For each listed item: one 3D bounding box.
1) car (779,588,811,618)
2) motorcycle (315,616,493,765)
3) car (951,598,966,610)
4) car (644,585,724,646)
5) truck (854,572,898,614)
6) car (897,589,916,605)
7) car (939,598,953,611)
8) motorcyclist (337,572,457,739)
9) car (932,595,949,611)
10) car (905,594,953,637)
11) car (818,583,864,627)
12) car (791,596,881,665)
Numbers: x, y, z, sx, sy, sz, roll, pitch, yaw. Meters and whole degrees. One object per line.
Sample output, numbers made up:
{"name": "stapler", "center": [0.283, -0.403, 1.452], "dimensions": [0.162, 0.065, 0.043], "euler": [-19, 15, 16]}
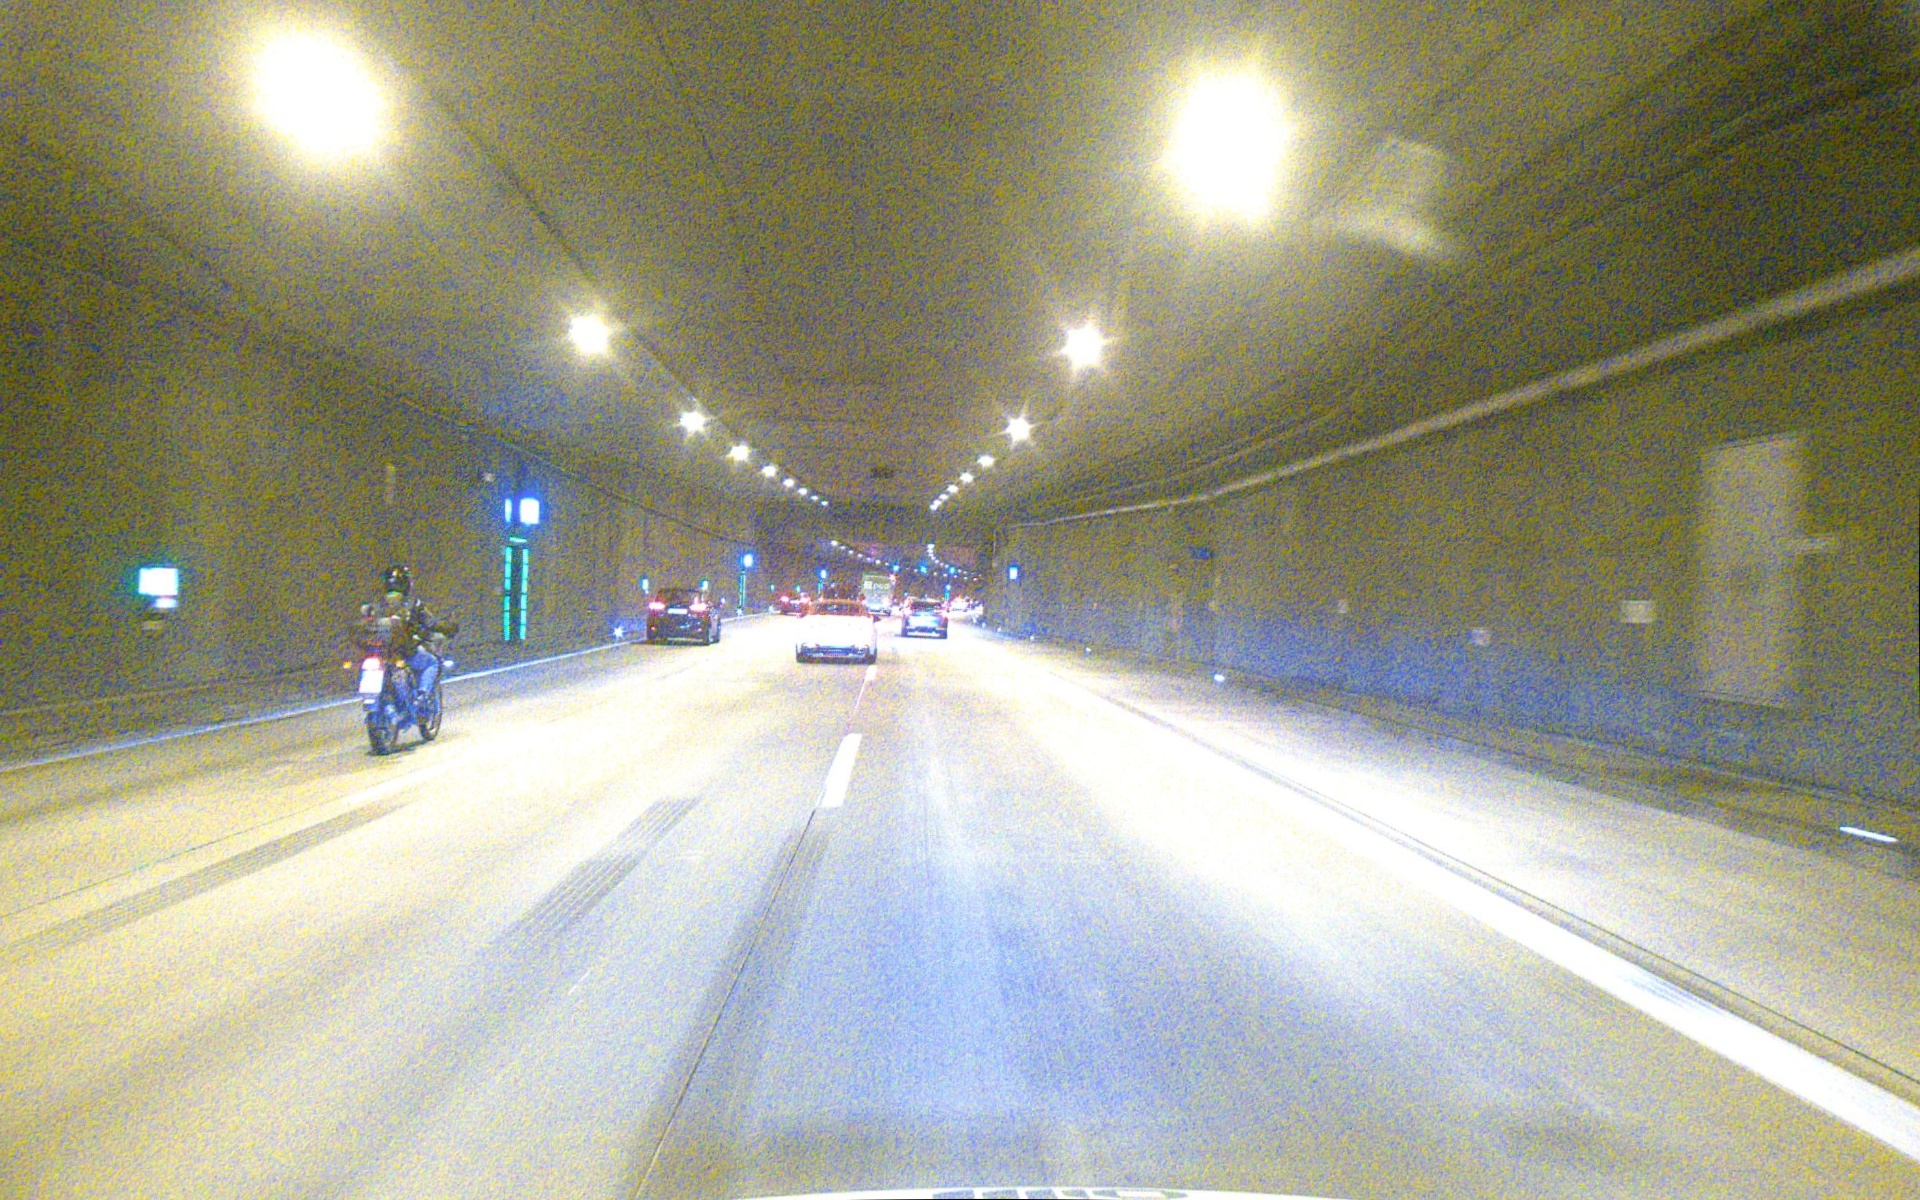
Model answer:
{"name": "car", "center": [-9.842, 0.180, 98.814], "dimensions": [1.765, 1.713, 3.996], "euler": [0, 0, -5]}
{"name": "motorcycle", "center": [-5.246, 0.809, 15.811], "dimensions": [0.828, 1.267, 2.604], "euler": [-1, 0, -1]}
{"name": "car", "center": [-0.177, 0.530, 214.720], "dimensions": [1.806, 1.578, 4.001], "euler": [1, 0, 1]}
{"name": "car", "center": [-7.738, 0.415, 46.663], "dimensions": [1.749, 1.626, 3.799], "euler": [1, 0, -2]}
{"name": "truck", "center": [-6.573, -0.568, 130.152], "dimensions": [3.020, 3.167, 10.028], "euler": [0, 1, -1]}
{"name": "car", "center": [-6.047, -0.325, 187.619], "dimensions": [1.953, 1.785, 3.999], "euler": [0, 0, 0]}
{"name": "car", "center": [-1.873, 0.569, 220.537], "dimensions": [1.796, 1.720, 4.000], "euler": [1, 0, 0]}
{"name": "motorcyclist", "center": [-5.248, 0.506, 15.466], "dimensions": [0.822, 1.503, 0.821], "euler": [-1, 0, 0]}
{"name": "car", "center": [-2.102, 0.297, 178.937], "dimensions": [1.820, 1.695, 4.000], "euler": [1, 0, 0]}
{"name": "car", "center": [-1.214, 0.595, 64.483], "dimensions": [1.802, 1.630, 3.999], "euler": [1, 0, -1]}
{"name": "car", "center": [-5.537, 0.242, 77.550], "dimensions": [1.953, 2.006, 3.999], "euler": [-1, 0, -1]}
{"name": "car", "center": [-2.811, 0.671, 38.146], "dimensions": [1.954, 1.509, 3.998], "euler": [0, 0, -3]}
